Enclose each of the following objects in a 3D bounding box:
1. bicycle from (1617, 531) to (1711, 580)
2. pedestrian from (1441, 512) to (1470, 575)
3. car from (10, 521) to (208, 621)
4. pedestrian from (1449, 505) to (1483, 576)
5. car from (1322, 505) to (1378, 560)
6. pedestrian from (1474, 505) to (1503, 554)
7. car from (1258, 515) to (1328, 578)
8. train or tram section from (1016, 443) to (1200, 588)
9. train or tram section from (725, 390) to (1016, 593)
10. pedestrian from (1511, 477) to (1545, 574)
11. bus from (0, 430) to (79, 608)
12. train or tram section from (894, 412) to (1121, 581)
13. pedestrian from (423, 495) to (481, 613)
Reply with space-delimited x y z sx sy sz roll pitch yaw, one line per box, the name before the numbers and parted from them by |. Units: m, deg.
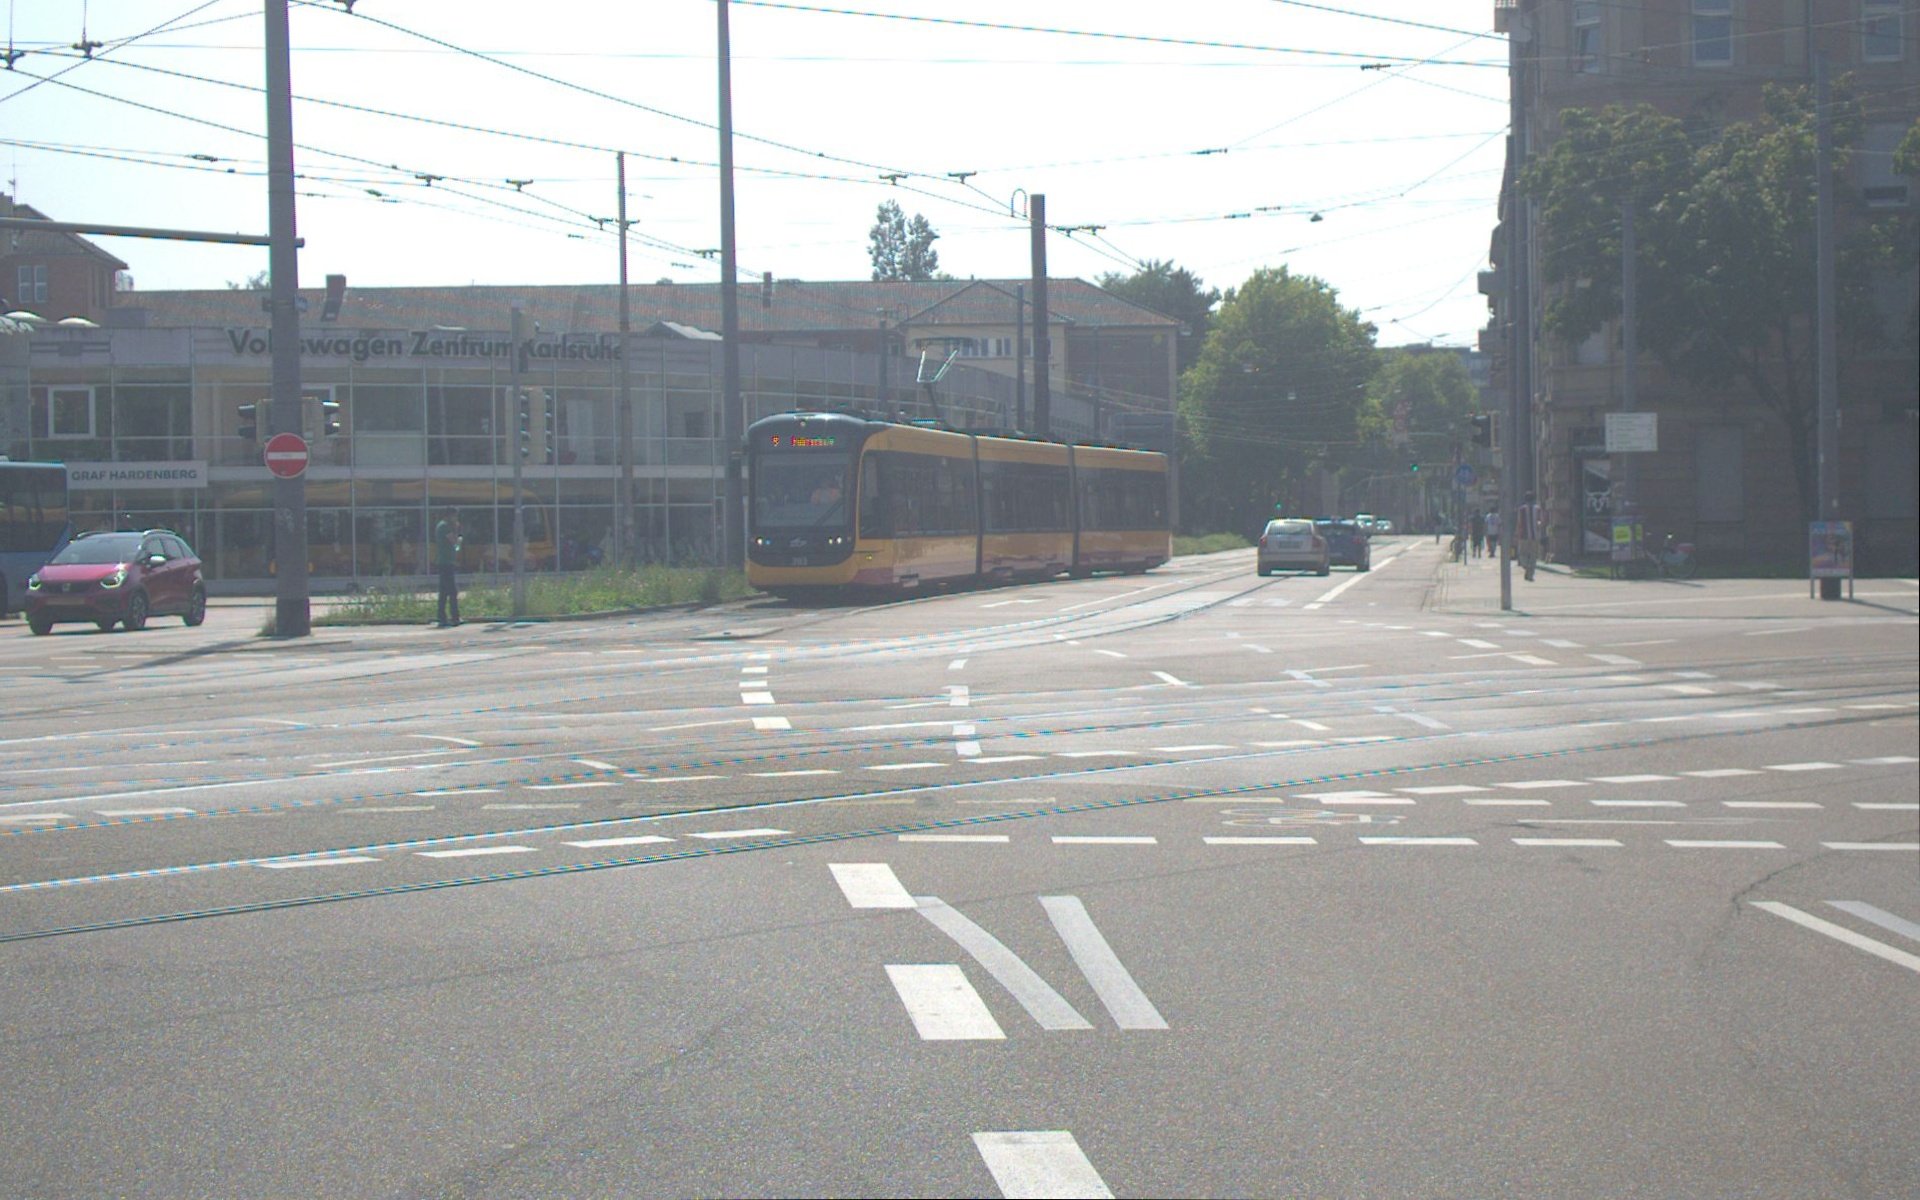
bicycle | 14.195 -0.893 69.338 1.783 0.954 0.462 -1 1 3
pedestrian | 15.922 -1.800 110.414 0.791 2.007 0.810 1 0 1
car | -13.205 -0.478 53.534 1.625 1.467 3.770 0 1 9
pedestrian | 14.475 -1.700 98.390 0.839 2.007 0.810 1 0 1
car | 11.072 -1.929 97.667 1.510 1.506 3.623 -1 1 6
pedestrian | 18.357 -2.454 119.410 0.839 1.665 0.810 1 1 1
car | 8.579 -1.373 88.855 1.732 1.568 3.611 1 1 5
train or tram section | 4.031 -2.118 90.199 2.589 3.548 12.210 1 1 13
train or tram section | -1.491 -1.957 66.397 2.589 3.548 12.210 1 1 13
pedestrian | 11.909 -1.564 72.093 0.649 2.007 0.703 -1 1 6
bus | -18.277 -1.308 56.325 2.726 3.054 12.078 0 1 10
train or tram section | 1.265 -2.225 78.262 2.589 3.548 12.210 1 1 13
pedestrian | -7.382 -0.673 49.975 0.802 1.681 0.719 -1 1 -8
